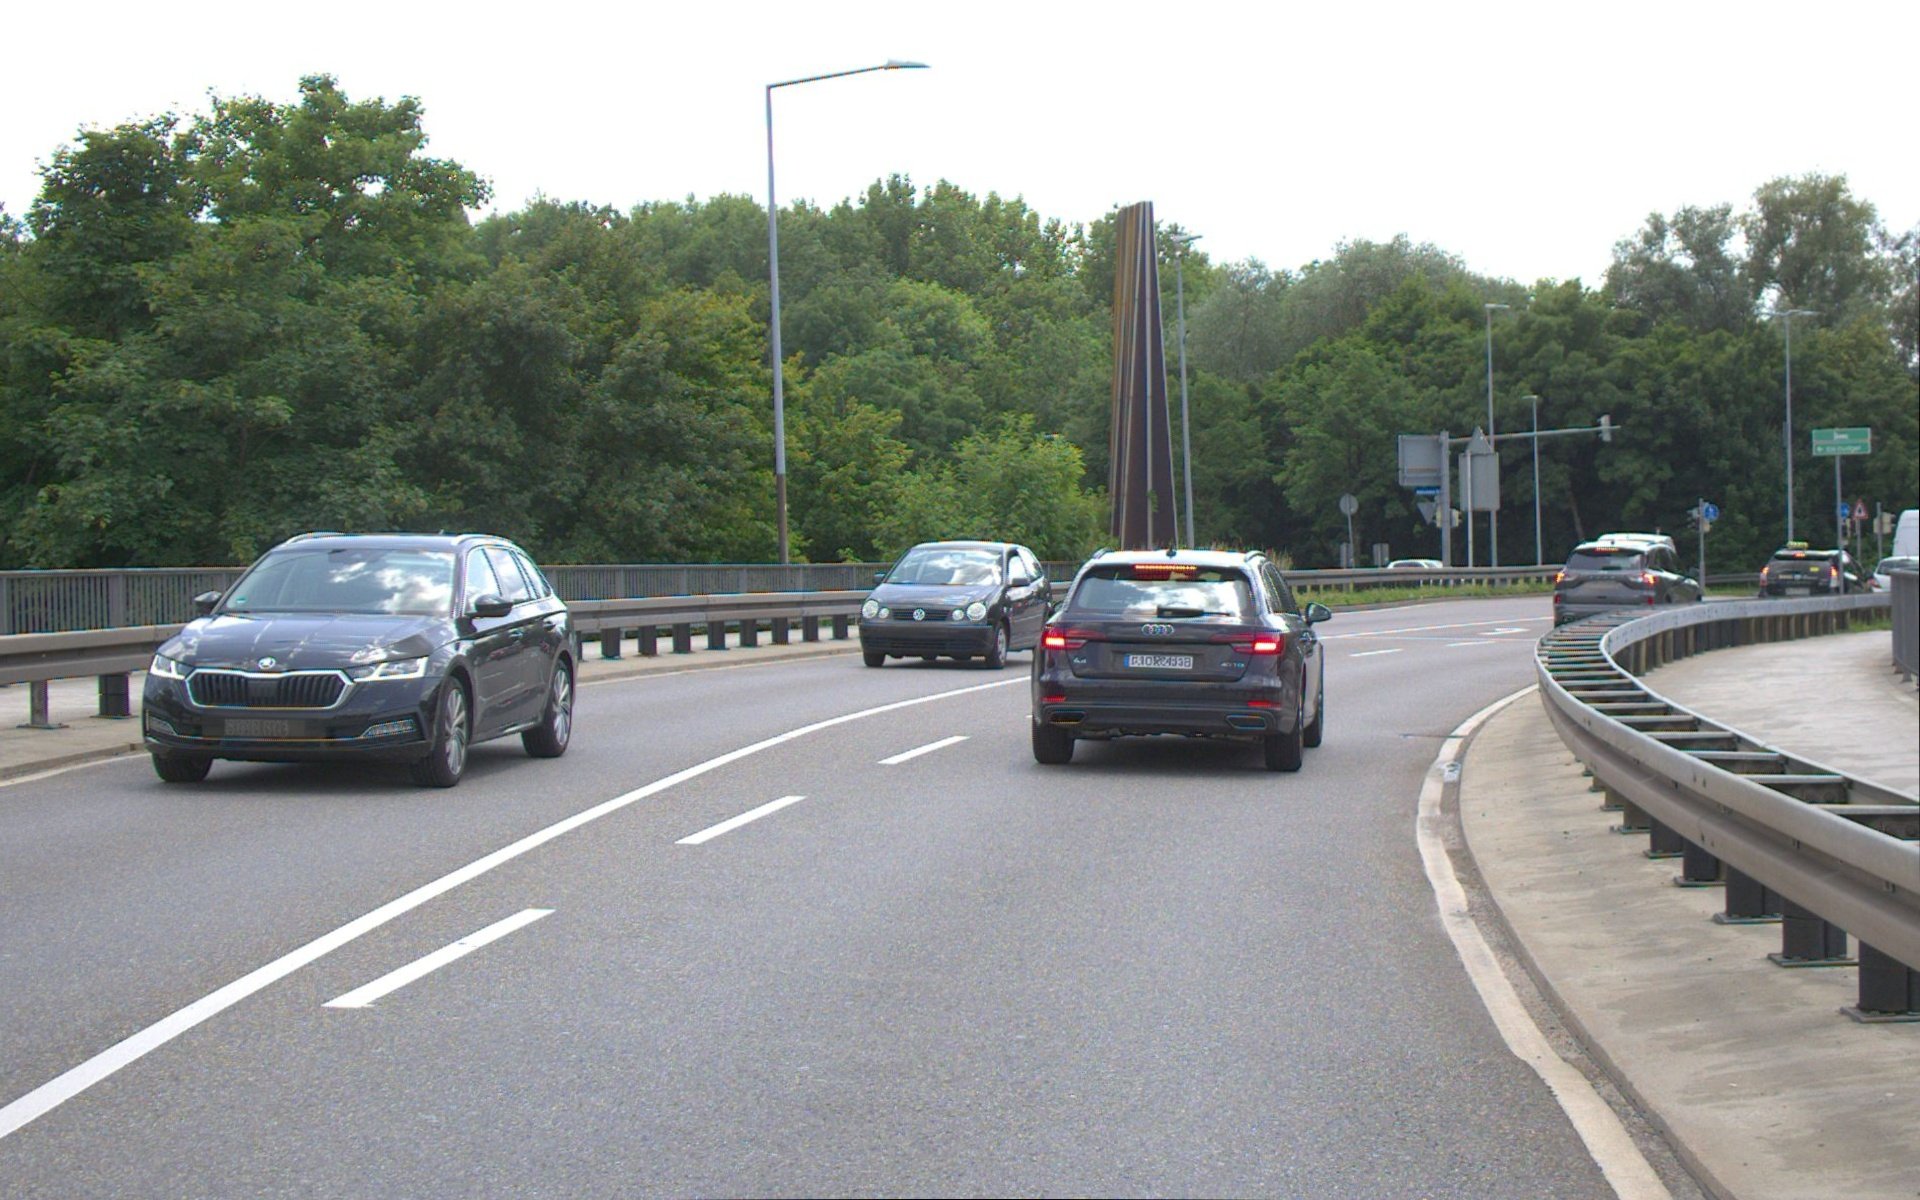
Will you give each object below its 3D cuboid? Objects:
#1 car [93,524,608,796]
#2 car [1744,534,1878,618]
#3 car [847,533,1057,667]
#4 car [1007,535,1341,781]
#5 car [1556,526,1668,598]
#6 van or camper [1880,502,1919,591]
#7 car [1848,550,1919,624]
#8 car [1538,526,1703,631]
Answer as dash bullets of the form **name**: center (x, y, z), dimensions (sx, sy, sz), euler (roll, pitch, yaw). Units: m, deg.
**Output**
- **car**: center (-3.628, 0.277, 21.393), dimensions (1.818, 1.446, 4.736), euler (1, 2, 7)
- **car**: center (17.634, -0.509, 71.125), dimensions (1.736, 1.646, 3.850), euler (1, 1, 29)
- **car**: center (-0.040, -0.042, 40.395), dimensions (1.815, 1.447, 3.925), euler (2, 1, 9)
- **car**: center (1.572, 0.324, 23.806), dimensions (1.828, 1.486, 4.205), euler (1, 2, 10)
- **car**: center (16.660, -0.980, 87.747), dimensions (1.816, 1.748, 4.300), euler (2, 1, 24)
- **van or camper**: center (26.775, -1.385, 93.013), dimensions (2.276, 2.333, 5.231), euler (2, 1, 30)
- **car**: center (21.860, -0.322, 79.469), dimensions (1.736, 1.646, 3.850), euler (0, 1, 28)
- **car**: center (11.032, -0.380, 57.228), dimensions (1.823, 1.646, 3.851), euler (2, 1, 24)
